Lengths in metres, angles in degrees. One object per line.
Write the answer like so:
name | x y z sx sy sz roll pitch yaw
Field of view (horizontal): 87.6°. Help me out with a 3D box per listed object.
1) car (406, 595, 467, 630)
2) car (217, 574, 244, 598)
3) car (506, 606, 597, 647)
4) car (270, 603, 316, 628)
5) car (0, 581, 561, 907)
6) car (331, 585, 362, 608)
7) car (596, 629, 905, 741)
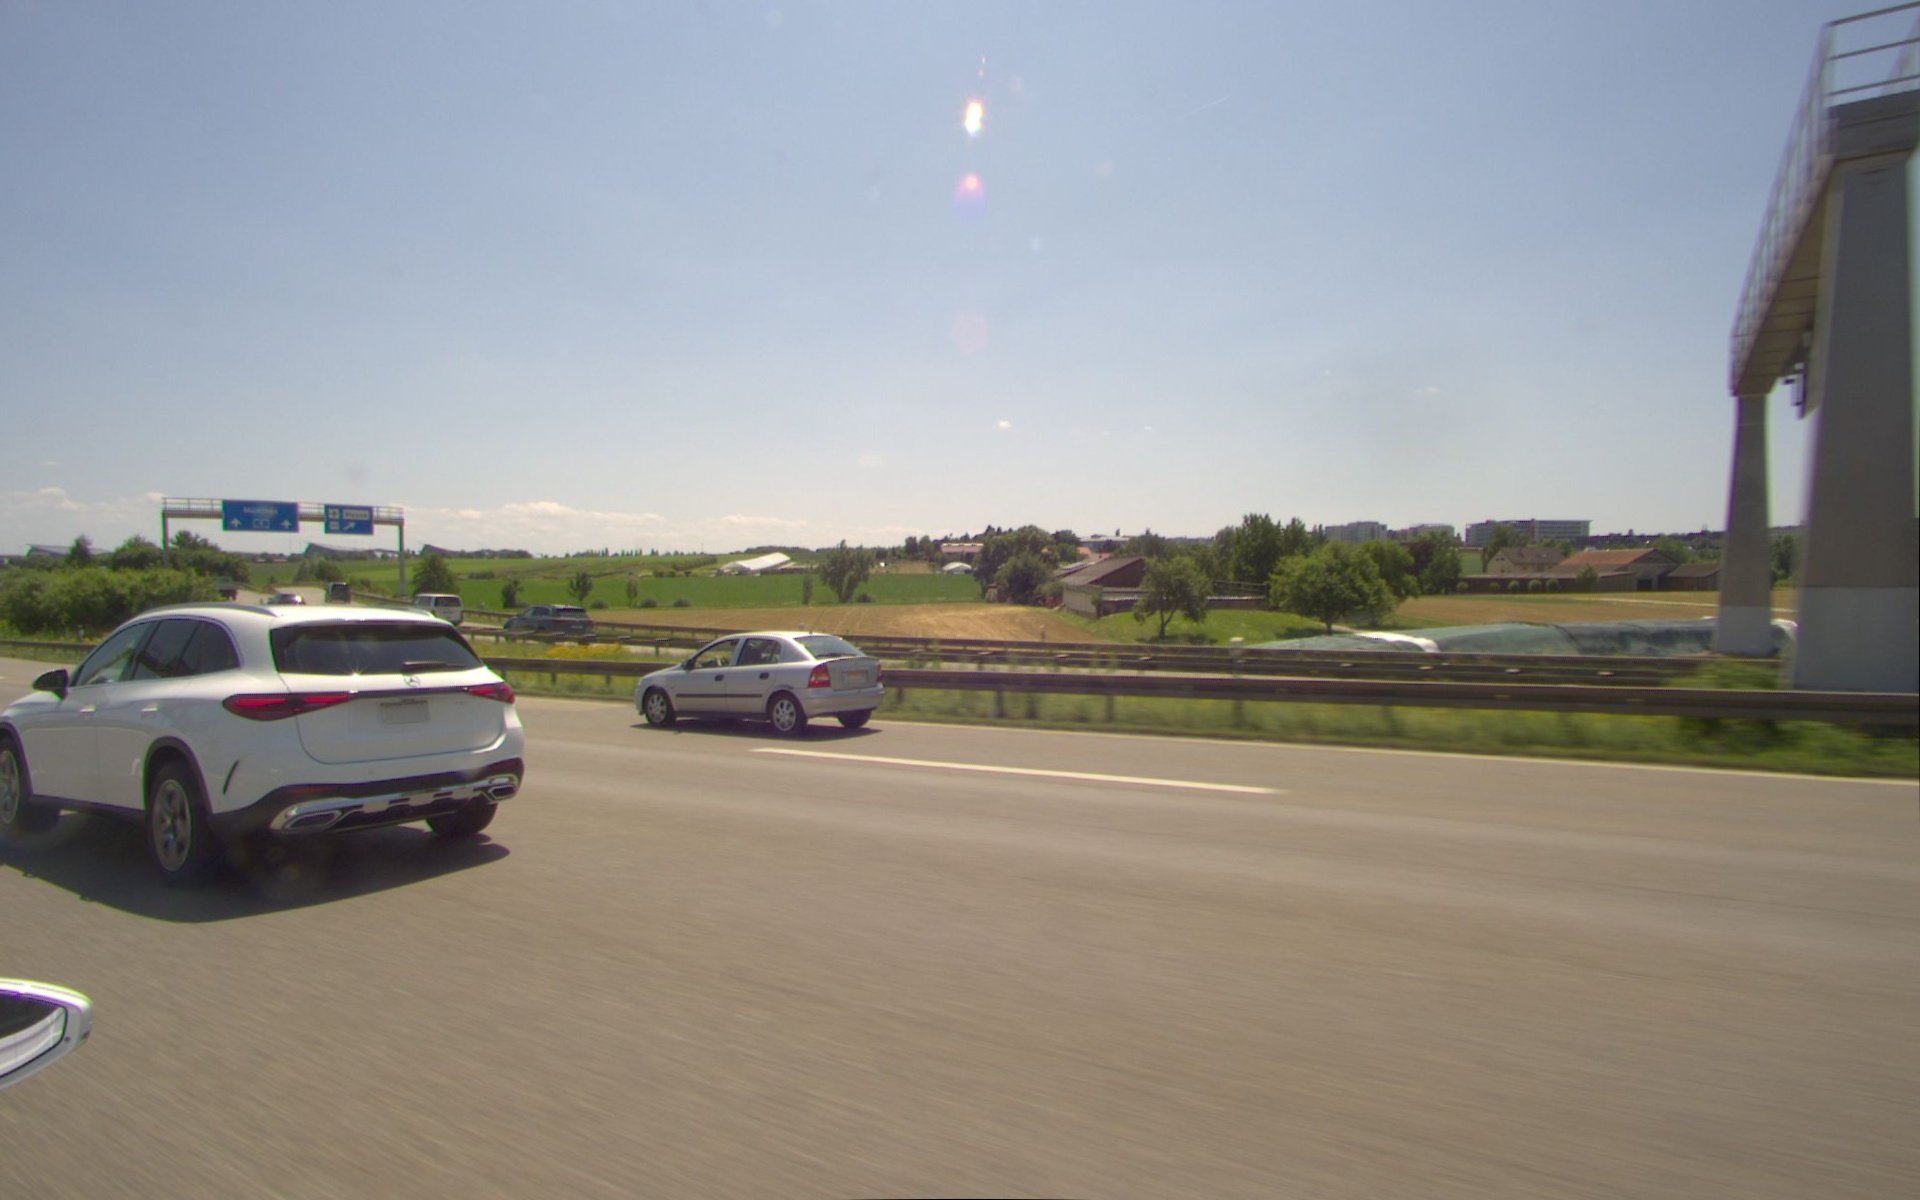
car | -31.445 0.783 60.104 4.133 1.948 1.929 -2 -2 42
car | -67.143 -1.277 92.233 1.975 2.039 3.973 0 -2 -36
car | -16.602 1.078 40.592 4.079 1.595 1.693 -2 -2 39
car | -46.165 1.107 69.280 1.981 1.616 3.962 0 -2 -44
car | -5.266 0.815 7.256 4.927 1.668 1.895 -2 -2 32
car | -56.331 -0.297 91.866 1.923 1.948 4.146 0 -2 -39
car | -3.273 1.198 15.224 4.781 1.456 1.782 -2 -2 34
